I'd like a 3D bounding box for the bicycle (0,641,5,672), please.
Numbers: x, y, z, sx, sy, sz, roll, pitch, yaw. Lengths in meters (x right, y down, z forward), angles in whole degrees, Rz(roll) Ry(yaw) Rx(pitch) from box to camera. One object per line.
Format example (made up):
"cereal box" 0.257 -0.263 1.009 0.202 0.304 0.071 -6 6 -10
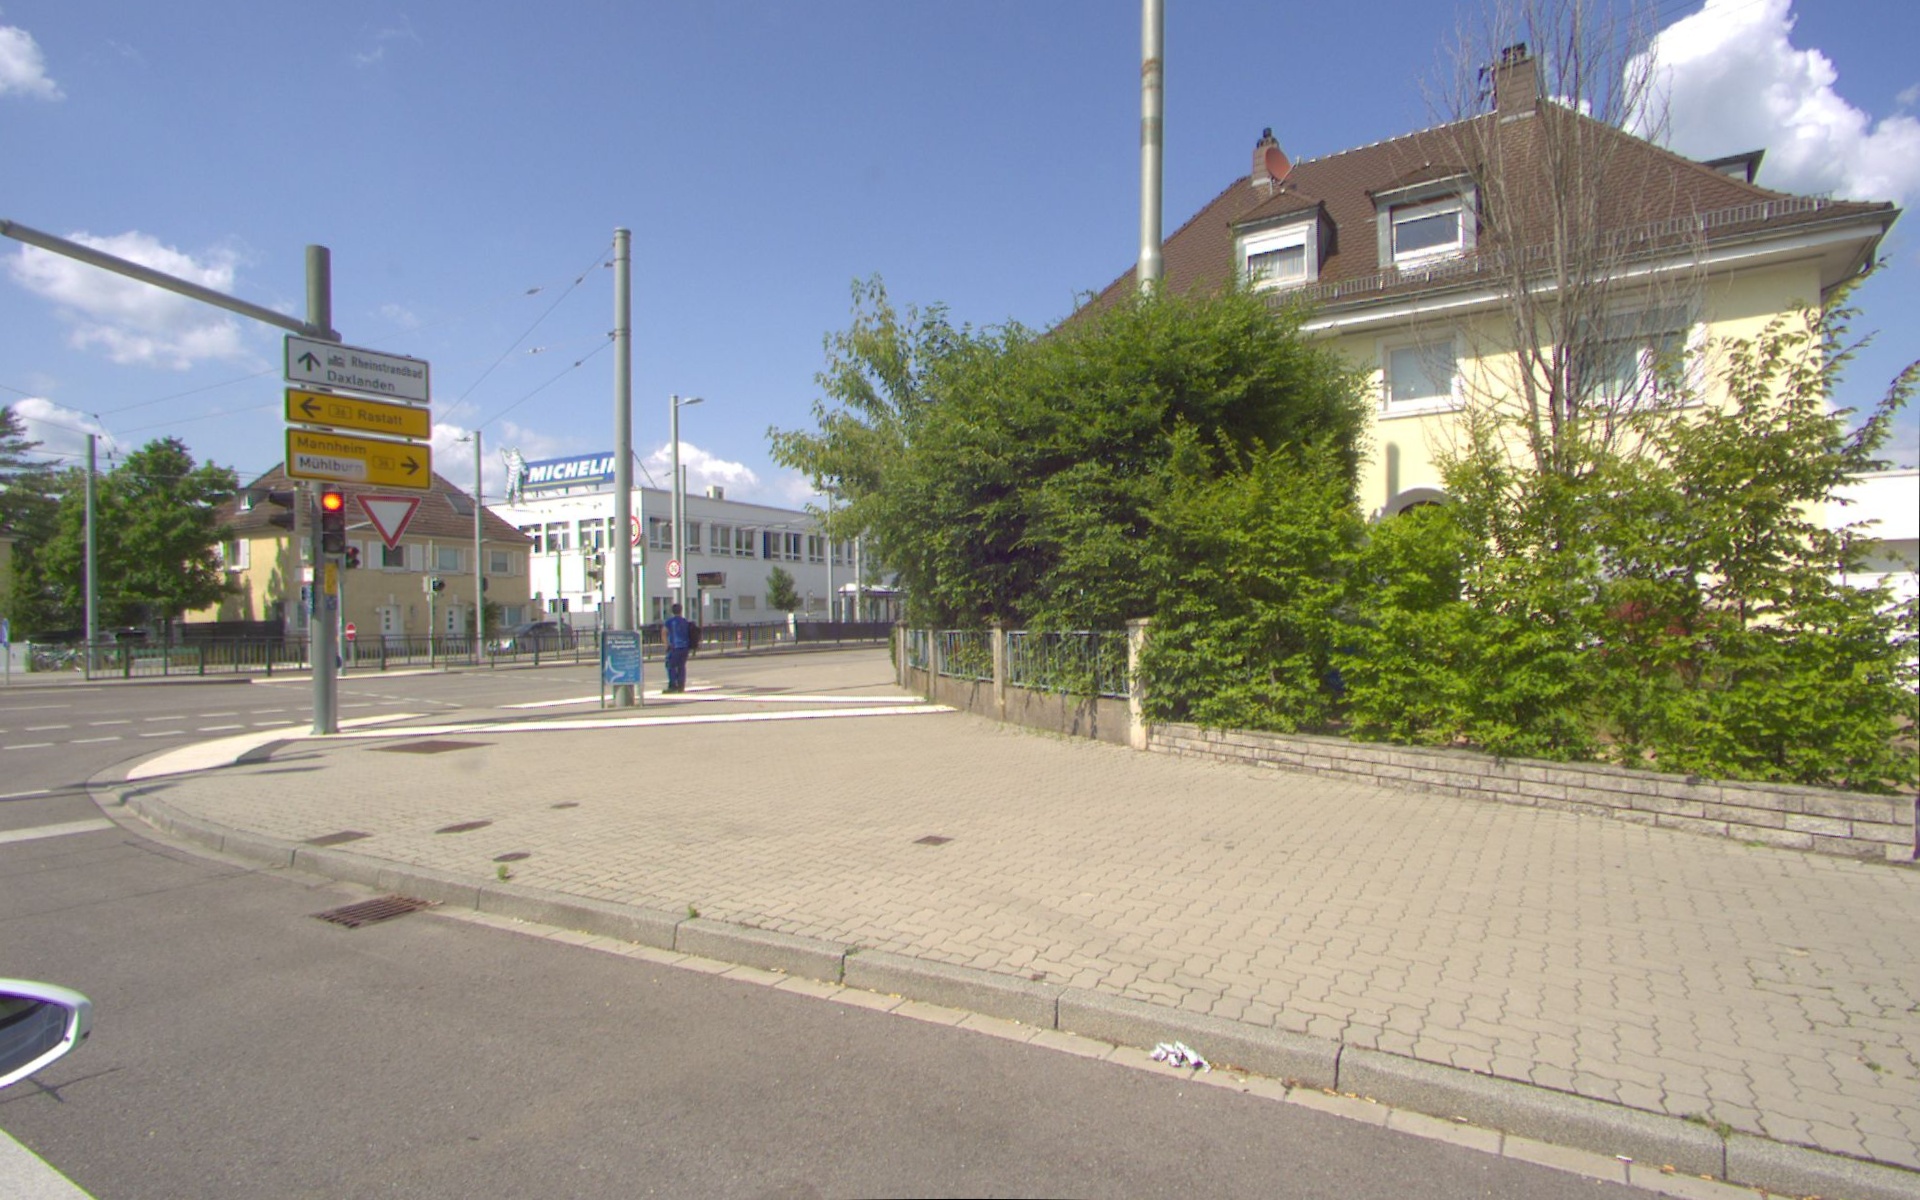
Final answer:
"bicycle" -35.092 2.023 35.243 0.704 1.116 2.026 -2 -1 27

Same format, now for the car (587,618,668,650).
"car" -16.489 1.668 49.788 1.553 1.465 3.705 -1 -1 30

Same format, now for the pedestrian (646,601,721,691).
"pedestrian" -5.601 0.919 20.315 1.025 1.757 1.028 -1 0 29

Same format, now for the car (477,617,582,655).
"car" -18.987 1.568 44.330 1.815 1.589 3.981 -1 -1 30

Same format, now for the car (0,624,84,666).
"car" -39.392 1.922 42.452 3.934 1.641 1.823 -3 -1 23

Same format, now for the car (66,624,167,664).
"car" -37.598 1.951 44.639 3.934 1.641 1.823 -3 -1 23

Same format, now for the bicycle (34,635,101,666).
"bicycle" -34.008 1.927 38.178 1.777 1.119 0.701 0 -1 -19
